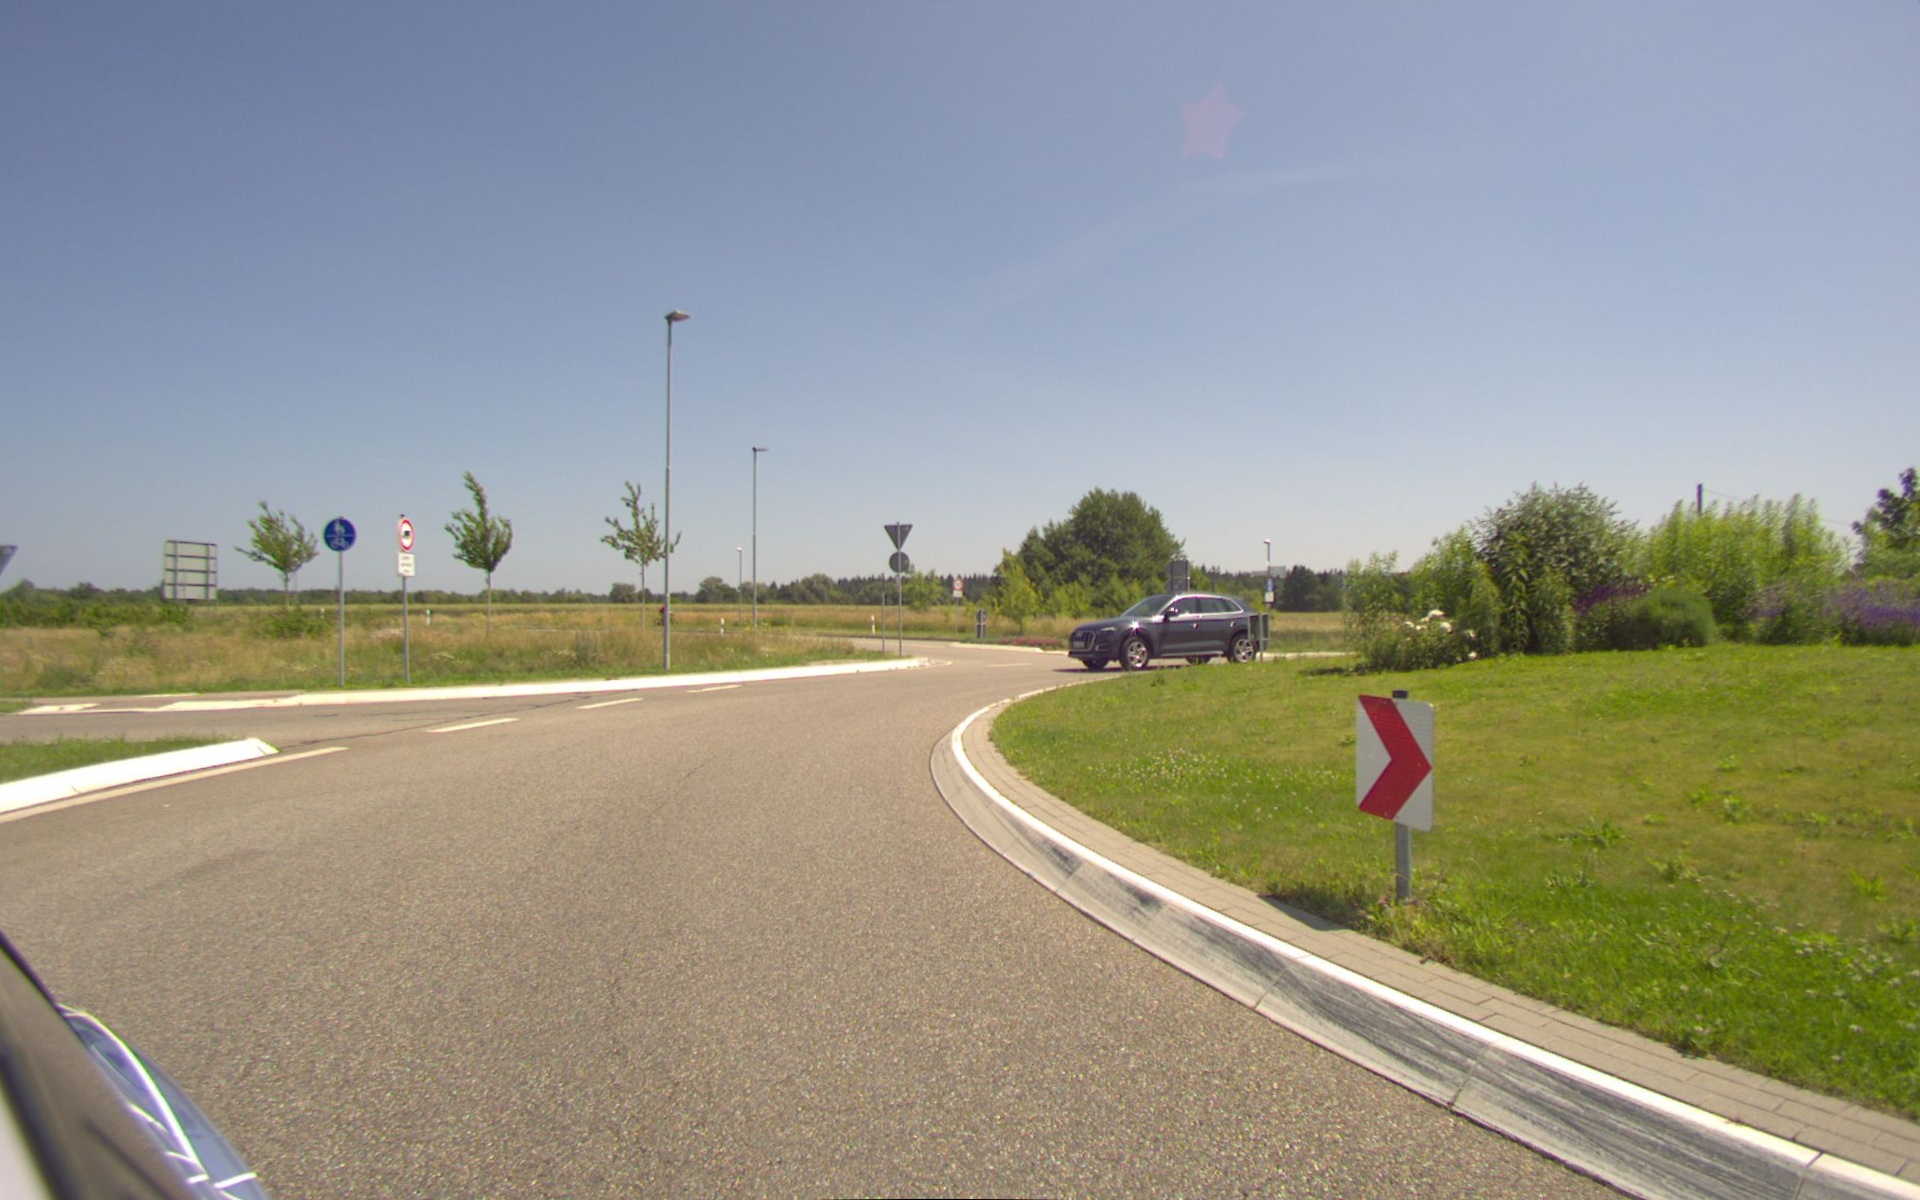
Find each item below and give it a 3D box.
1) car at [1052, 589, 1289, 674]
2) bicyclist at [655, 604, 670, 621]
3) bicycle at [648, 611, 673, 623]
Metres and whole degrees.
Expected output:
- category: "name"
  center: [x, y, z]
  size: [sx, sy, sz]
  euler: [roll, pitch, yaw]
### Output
- category: "car"
  center: [4.658, 0.651, 22.436]
  size: [4.805, 1.662, 1.960]
  euler: [-1, -1, -21]
- category: "bicyclist"
  center: [-19.306, 0.785, 65.668]
  size: [0.717, 1.087, 0.577]
  euler: [0, -1, 12]
- category: "bicycle"
  center: [-19.438, 1.115, 65.690]
  size: [1.455, 0.735, 0.577]
  euler: [0, -1, 12]
